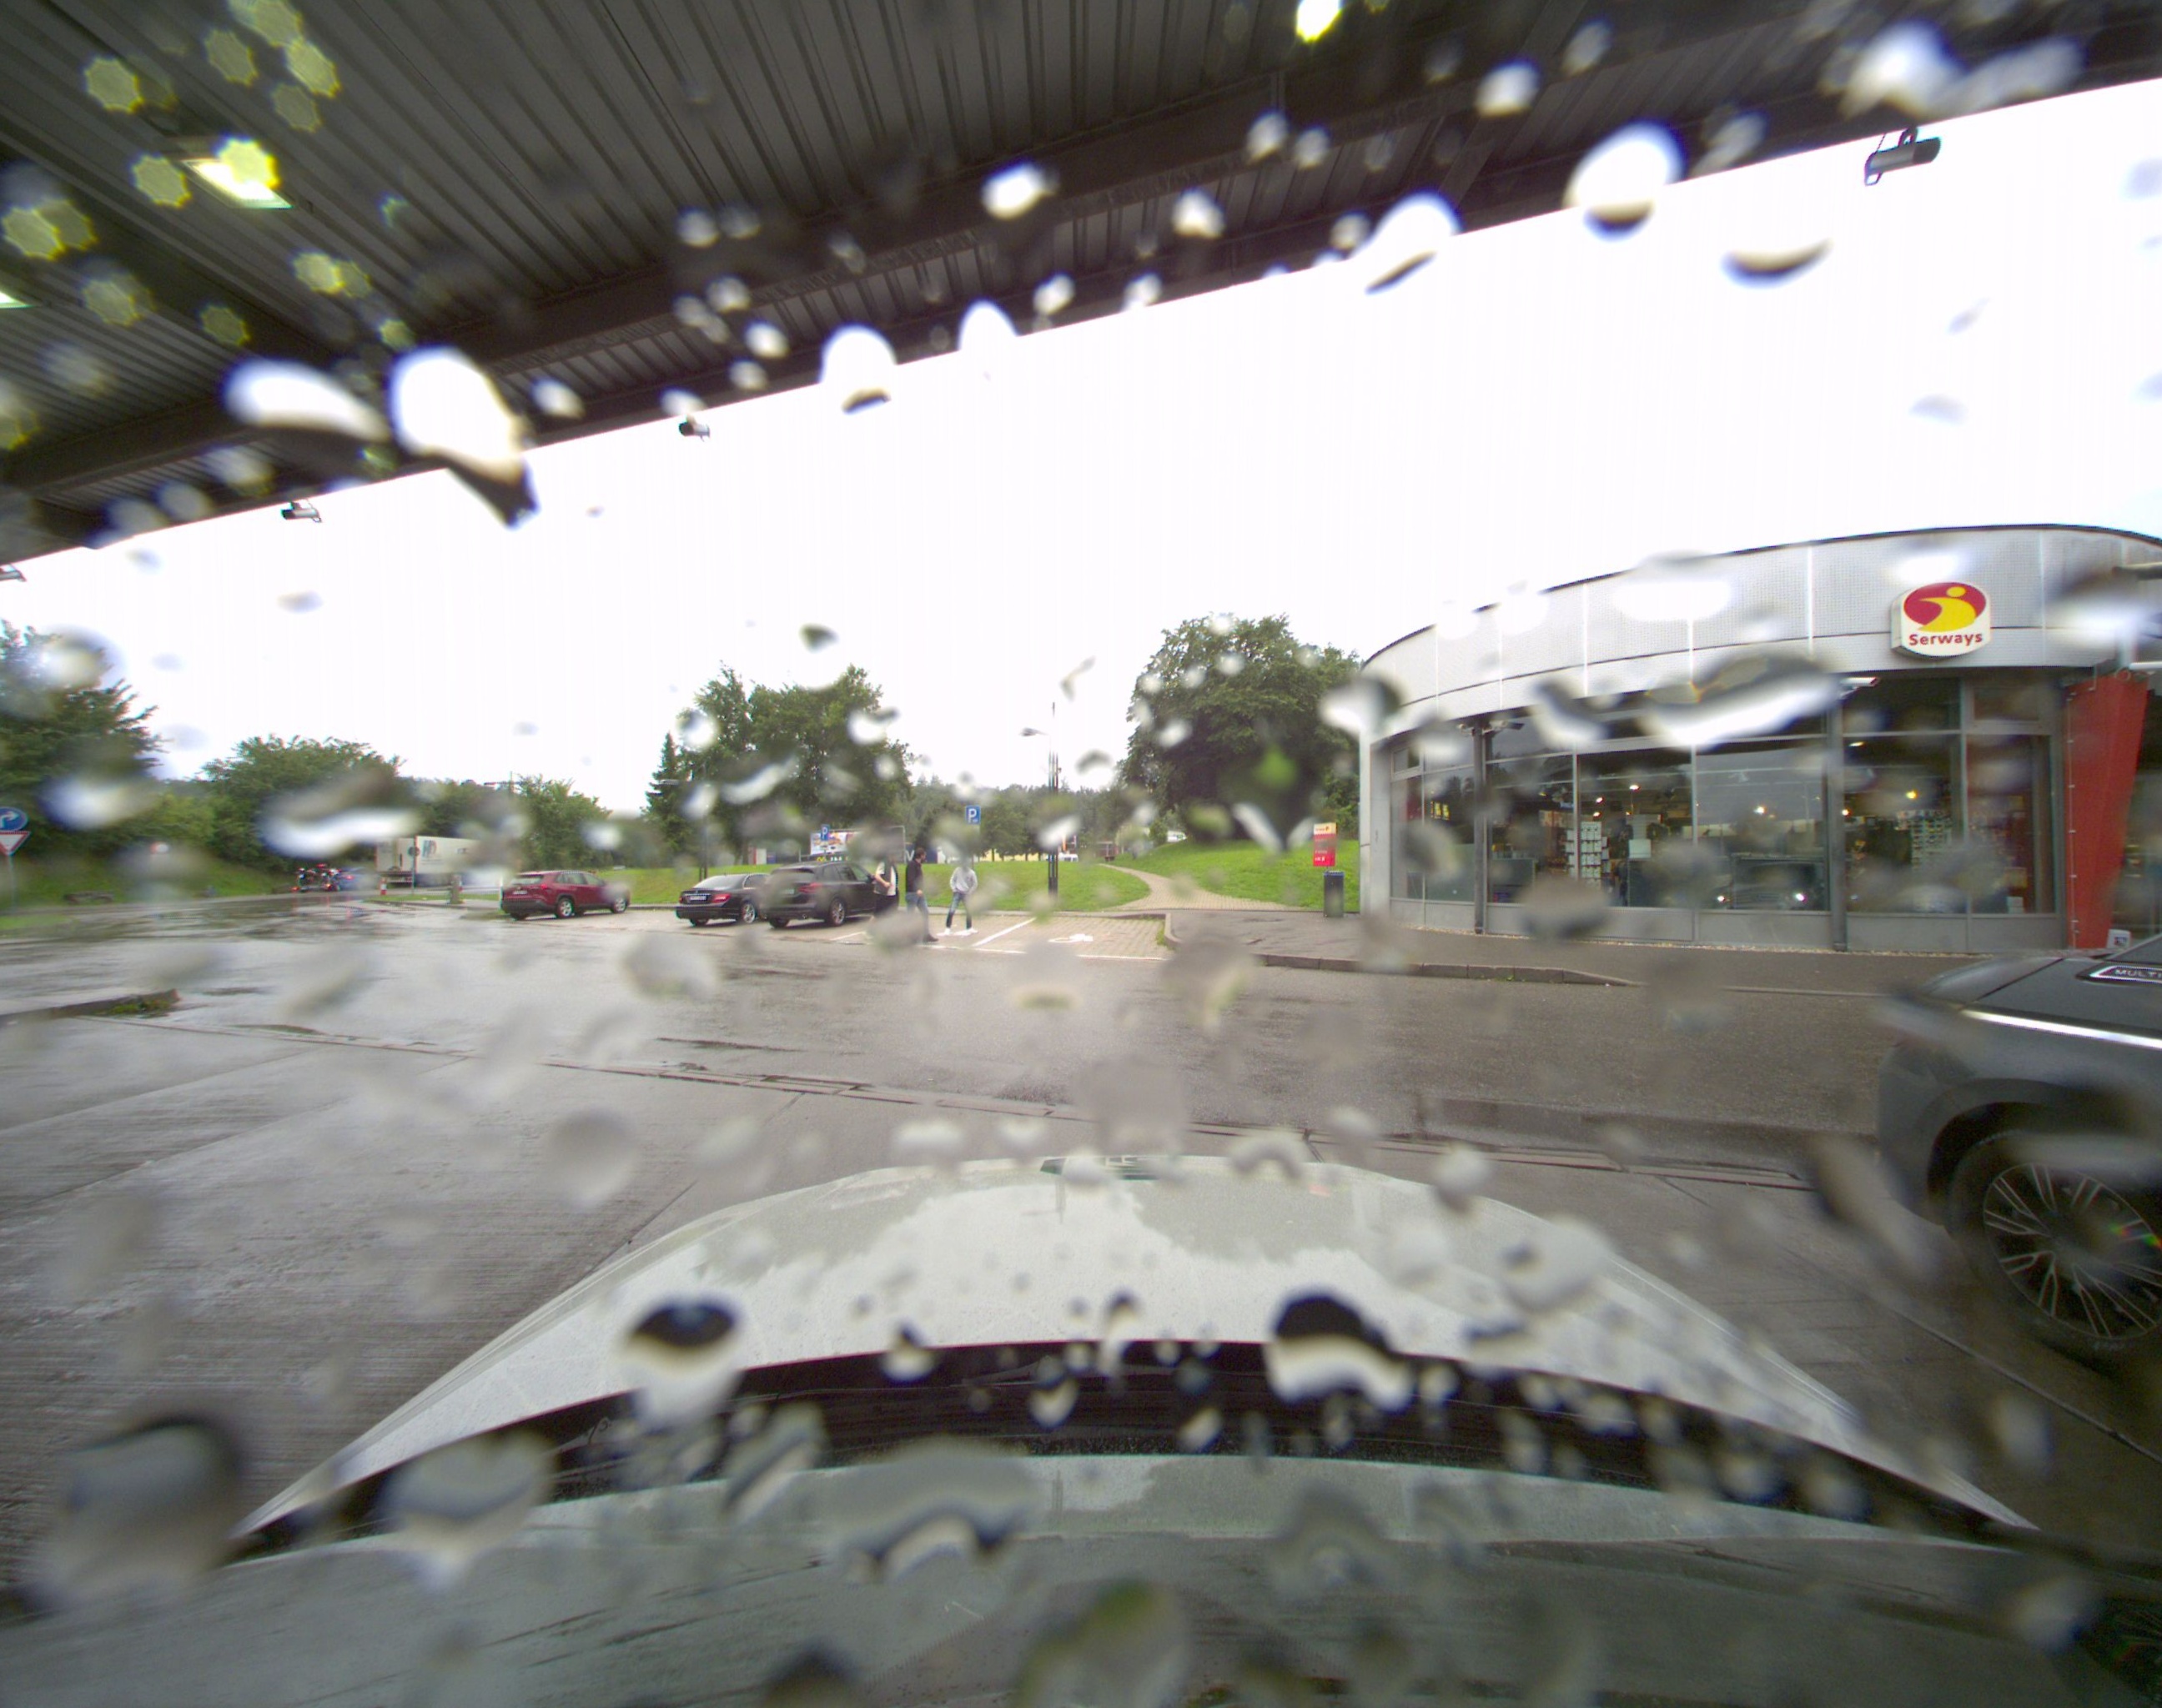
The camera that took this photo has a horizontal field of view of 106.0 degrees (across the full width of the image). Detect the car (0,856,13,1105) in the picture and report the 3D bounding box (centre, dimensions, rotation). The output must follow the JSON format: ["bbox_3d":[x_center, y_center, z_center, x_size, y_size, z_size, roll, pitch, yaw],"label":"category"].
[{"bbox_3d":[-7.972,0.800,2.678,1.854,1.608,5.273,0,0,2],"label":"car"}]

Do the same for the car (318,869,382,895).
[{"bbox_3d":[-50.349,1.869,56.174,1.814,1.681,3.927,0,-1,-18],"label":"car"}]

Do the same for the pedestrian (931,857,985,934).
[{"bbox_3d":[-2.648,0.879,17.619,0.944,1.631,0.707,-1,-1,15],"label":"pedestrian"}]

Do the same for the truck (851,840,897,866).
[{"bbox_3d":[-24.191,-0.099,95.456,2.165,2.920,5.419,-1,-1,27],"label":"truck"}]

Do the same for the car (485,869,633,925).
[{"bbox_3d":[-18.142,1.436,28.594,1.928,1.644,4.352,-2,0,7],"label":"car"}]

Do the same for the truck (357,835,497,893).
[{"bbox_3d":[-55.450,0.828,69.977,3.550,4.340,16.899,0,-1,-18],"label":"truck"}]

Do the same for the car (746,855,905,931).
[{"bbox_3d":[-6.653,0.967,21.782,2.002,1.711,4.360,-2,0,14],"label":"car"}]

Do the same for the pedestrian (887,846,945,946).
[{"bbox_3d":[-3.190,0.794,15.797,0.885,1.887,0.706,-1,-1,9],"label":"pedestrian"}]

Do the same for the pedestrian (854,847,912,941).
[{"bbox_3d":[-4.114,0.816,16.931,0.944,1.887,0.707,-1,-1,16],"label":"pedestrian"}]

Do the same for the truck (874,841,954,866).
[{"bbox_3d":[-20.759,-0.068,102.348,2.165,2.920,13.175,-1,-1,26],"label":"truck"}]

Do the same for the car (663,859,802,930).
[{"bbox_3d":[-9.839,1.077,23.426,2.010,1.711,4.344,-2,0,1],"label":"car"}]

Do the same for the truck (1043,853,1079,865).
[{"bbox_3d":[-3.255,0.862,134.107,5.356,2.014,2.381,-1,-1,26],"label":"truck"}]

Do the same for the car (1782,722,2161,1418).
[{"bbox_3d":[3.670,0.542,0.679,1.854,1.798,5.142,0,-1,2],"label":"car"}]
